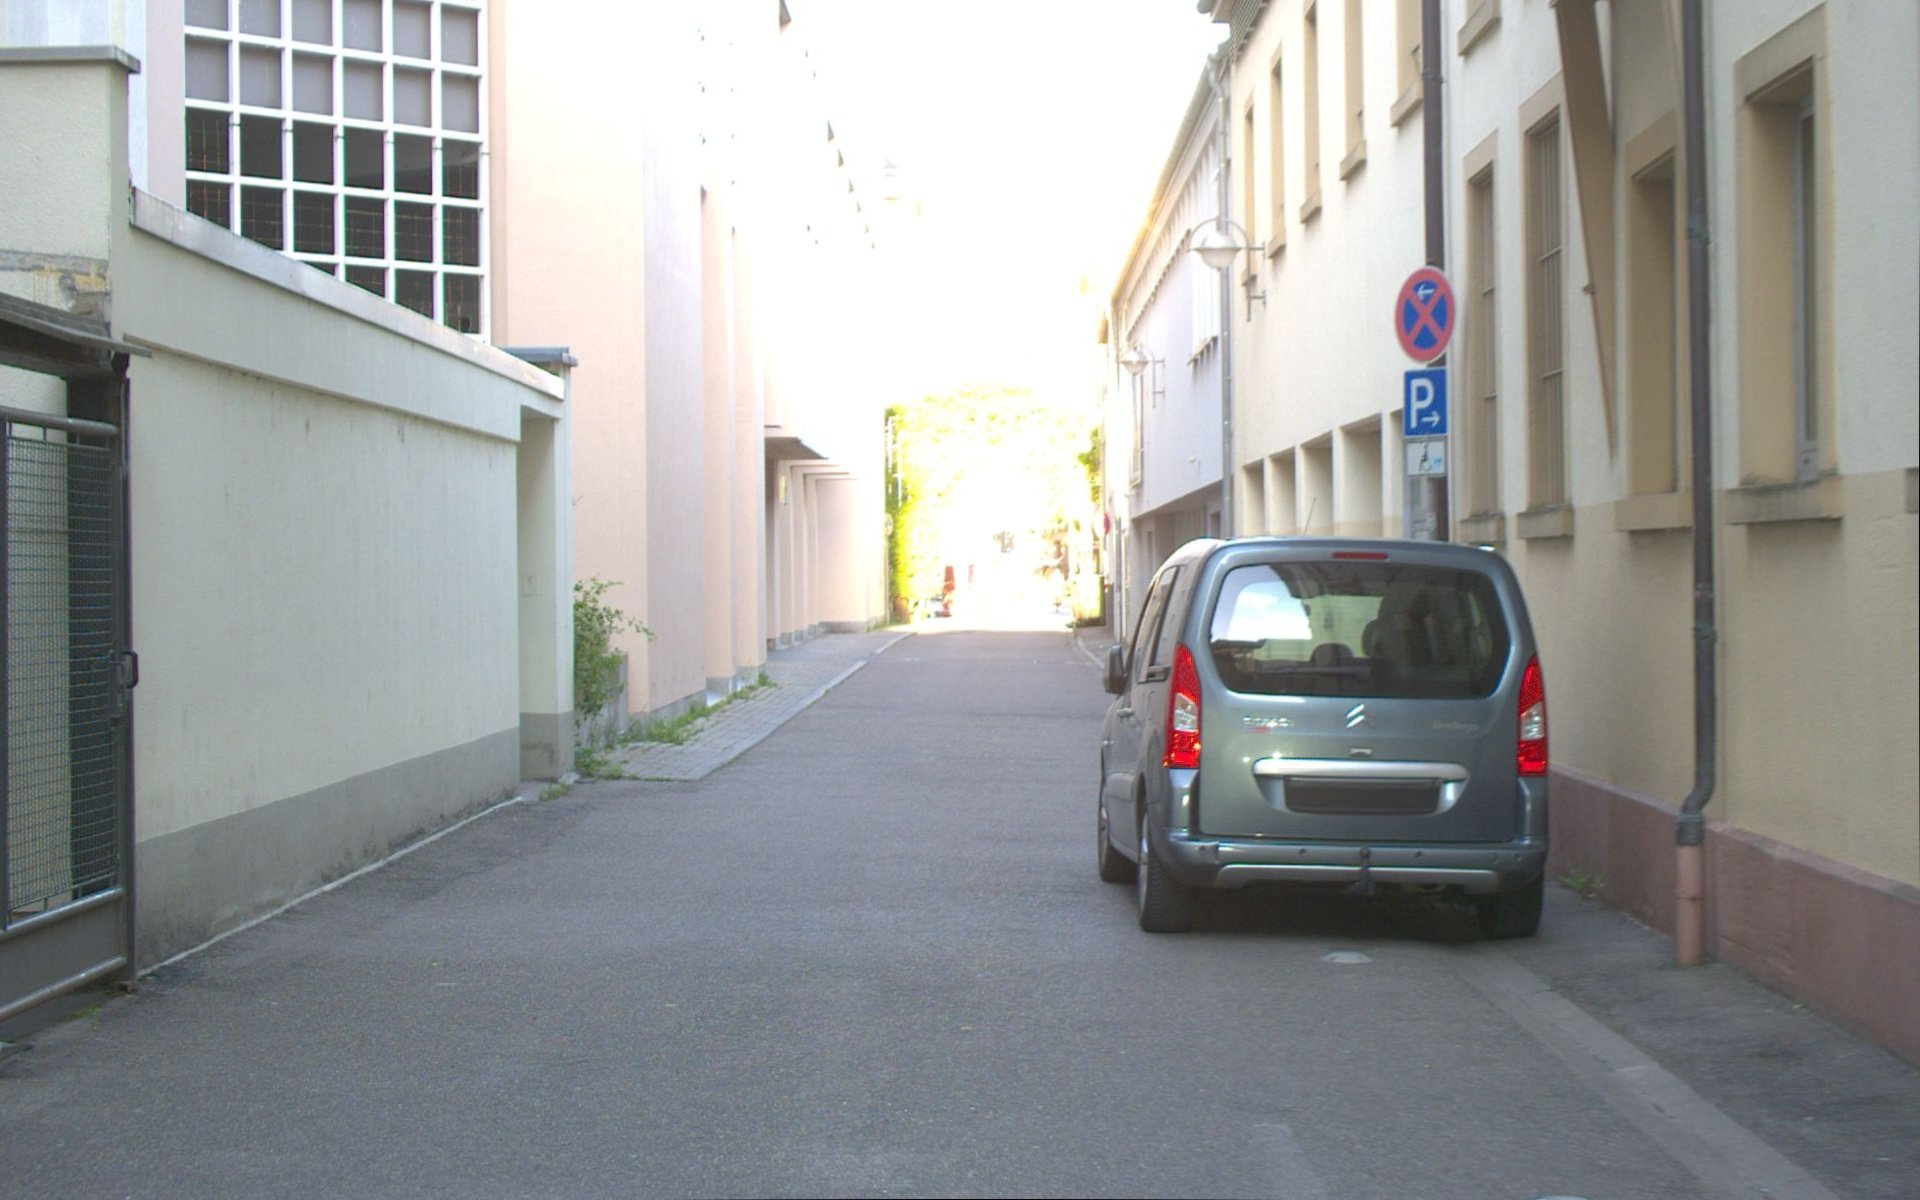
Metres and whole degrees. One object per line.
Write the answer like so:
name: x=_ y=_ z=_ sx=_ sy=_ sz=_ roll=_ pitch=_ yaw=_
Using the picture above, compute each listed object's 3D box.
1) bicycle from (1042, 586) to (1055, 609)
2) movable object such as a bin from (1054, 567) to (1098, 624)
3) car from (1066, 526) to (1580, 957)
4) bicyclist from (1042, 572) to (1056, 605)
bicycle: x=3.581 y=-0.086 z=138.742 sx=0.443 sy=0.912 sz=1.516 roll=1 pitch=1 yaw=4
movable object such as a bin: x=2.997 y=-0.121 z=89.018 sx=1.107 sy=1.431 sz=1.414 roll=0 pitch=2 yaw=1
car: x=1.612 y=0.590 z=16.742 sx=1.855 sy=1.750 sz=4.162 roll=3 pitch=0 yaw=-2
bicyclist: x=3.590 y=-0.448 z=138.817 sx=0.512 sy=1.318 sz=0.558 roll=1 pitch=0 yaw=3
